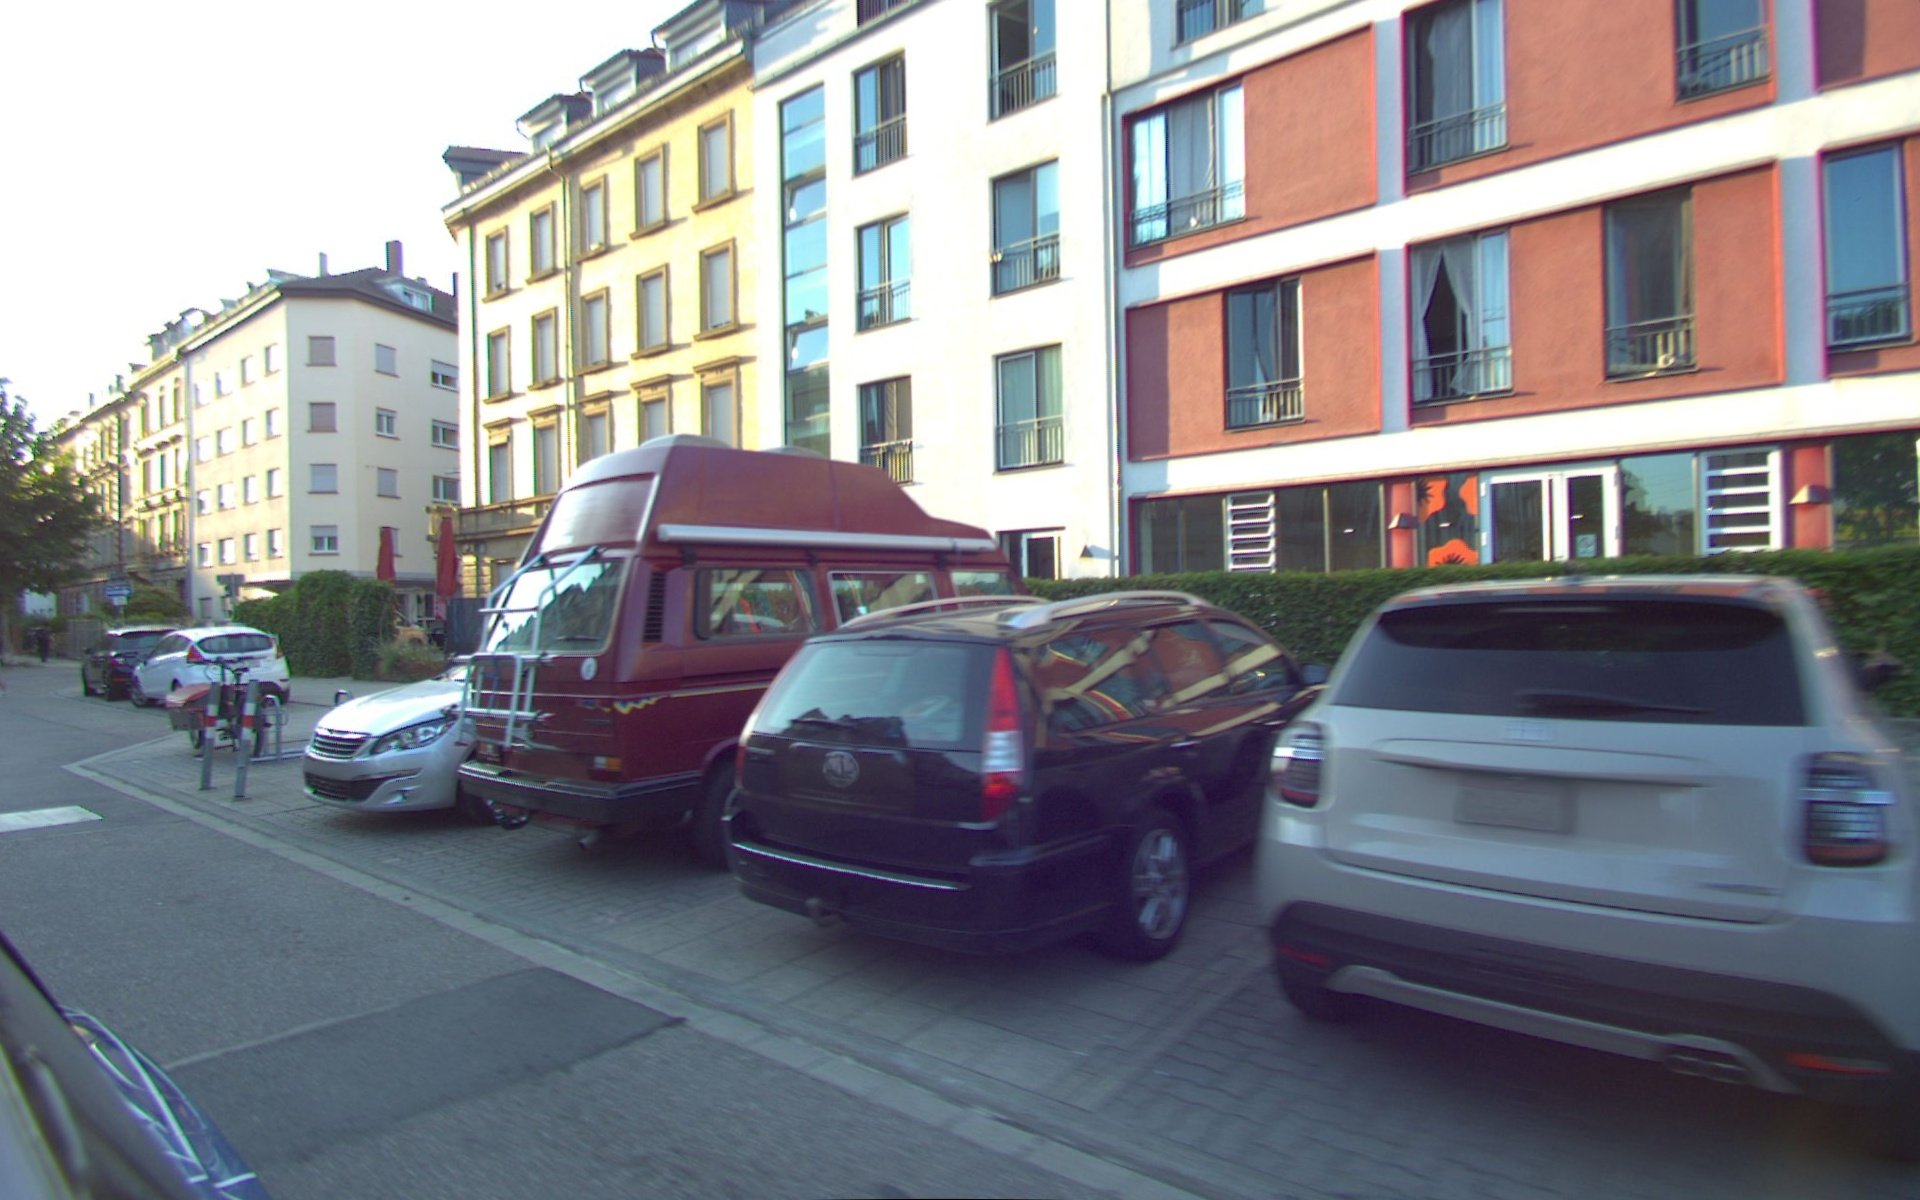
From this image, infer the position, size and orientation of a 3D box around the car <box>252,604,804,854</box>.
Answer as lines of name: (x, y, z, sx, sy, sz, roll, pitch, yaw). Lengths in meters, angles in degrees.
car: (-3.309, 0.842, 8.523, 1.798, 1.426, 3.948, -2, 1, 32)

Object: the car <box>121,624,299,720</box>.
car: (-13.930, 1.265, 18.752, 3.576, 1.522, 1.659, -2, 1, 37)

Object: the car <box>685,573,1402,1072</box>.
car: (0.860, 0.662, 5.359, 1.703, 1.536, 4.296, -2, 0, 38)

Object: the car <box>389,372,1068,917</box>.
car: (-1.261, 0.207, 7.092, 1.930, 2.576, 4.358, -2, -1, 39)

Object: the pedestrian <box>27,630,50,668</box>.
pedestrian: (-38.570, 2.032, 42.351, 0.638, 1.545, 0.637, -2, -1, 41)

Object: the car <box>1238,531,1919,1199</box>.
car: (2.772, 0.606, 3.952, 1.754, 1.551, 3.909, -2, 0, 40)

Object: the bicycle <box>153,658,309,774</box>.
bicycle: (-7.923, 1.190, 10.948, 2.412, 1.061, 0.795, -2, -1, 40)

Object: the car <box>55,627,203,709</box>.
car: (-17.897, 1.412, 21.761, 3.731, 1.534, 1.578, -2, 1, 37)
